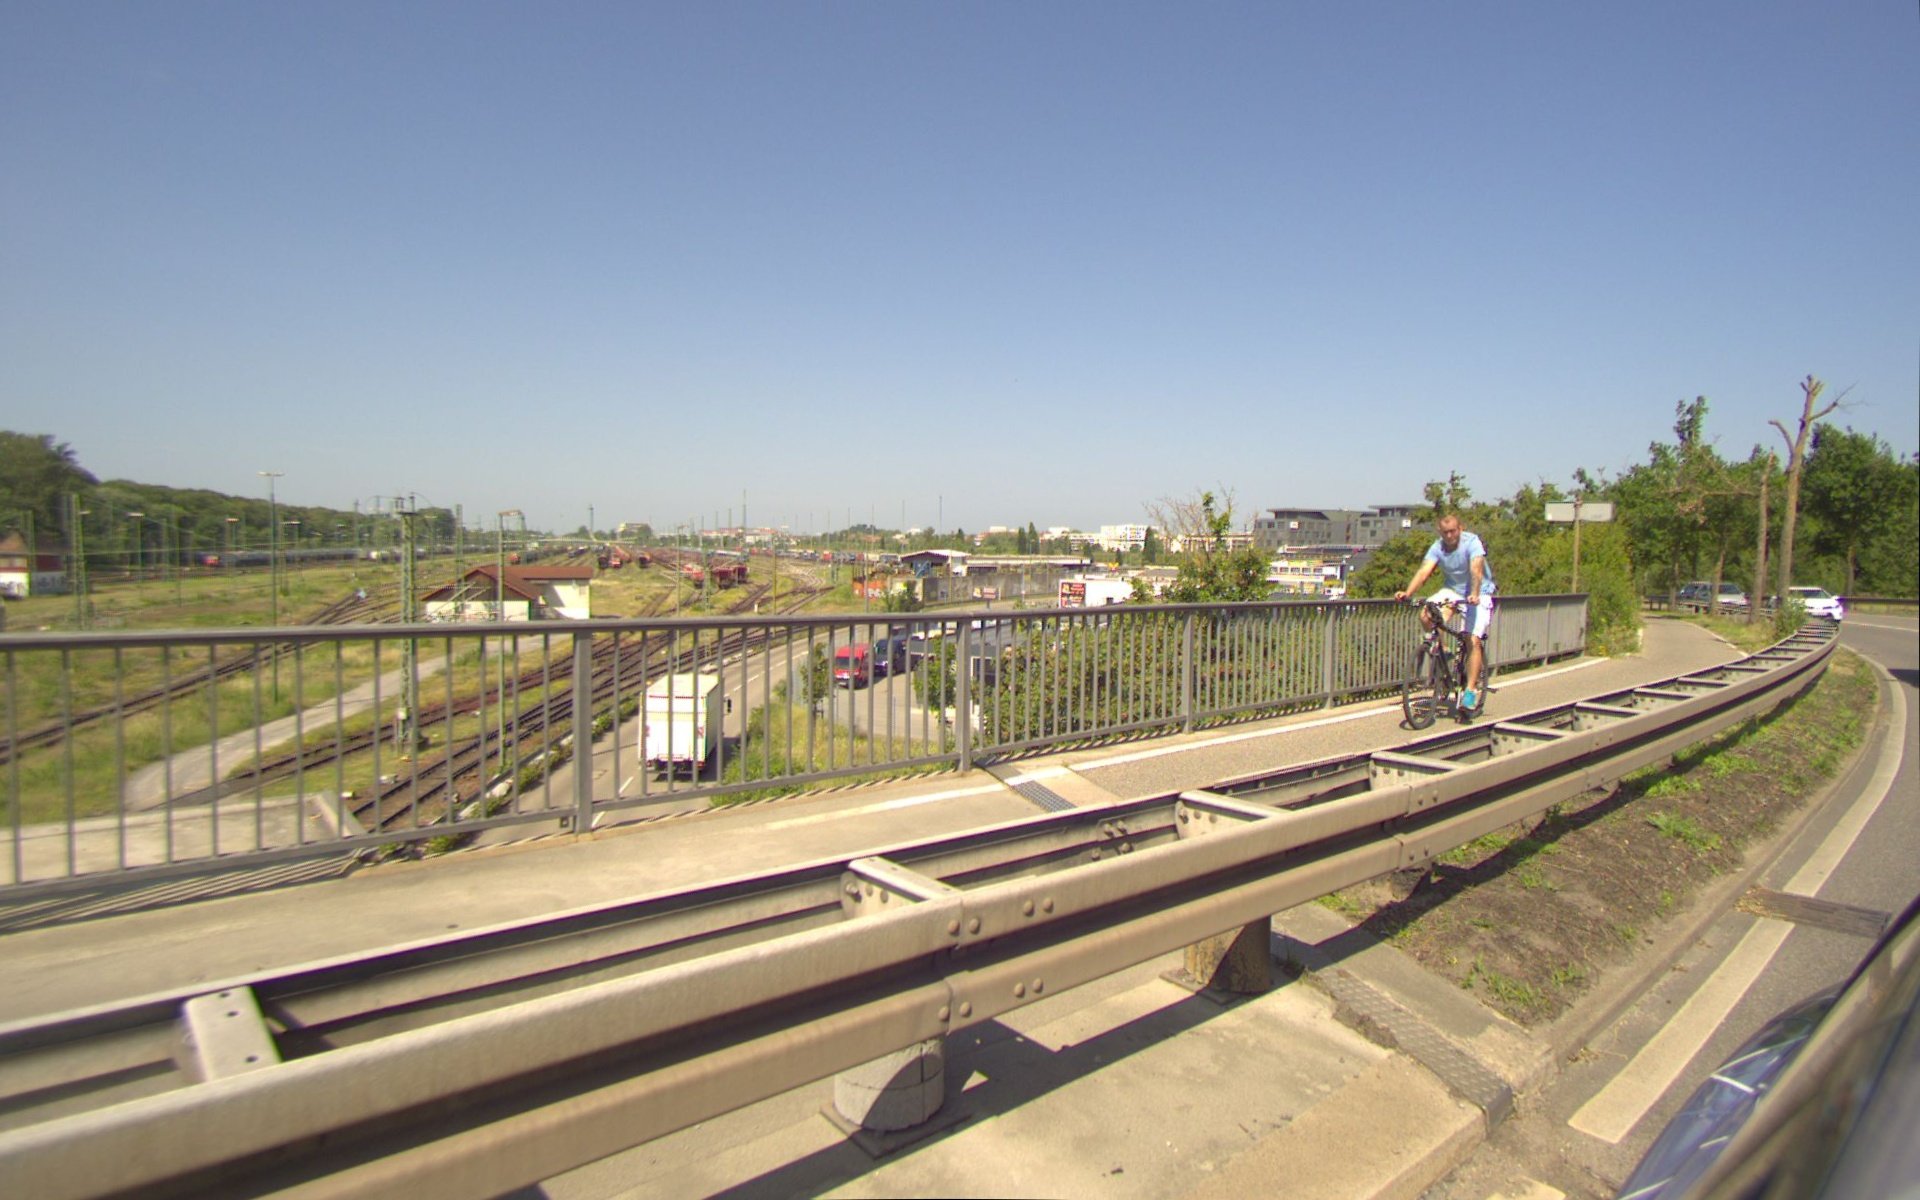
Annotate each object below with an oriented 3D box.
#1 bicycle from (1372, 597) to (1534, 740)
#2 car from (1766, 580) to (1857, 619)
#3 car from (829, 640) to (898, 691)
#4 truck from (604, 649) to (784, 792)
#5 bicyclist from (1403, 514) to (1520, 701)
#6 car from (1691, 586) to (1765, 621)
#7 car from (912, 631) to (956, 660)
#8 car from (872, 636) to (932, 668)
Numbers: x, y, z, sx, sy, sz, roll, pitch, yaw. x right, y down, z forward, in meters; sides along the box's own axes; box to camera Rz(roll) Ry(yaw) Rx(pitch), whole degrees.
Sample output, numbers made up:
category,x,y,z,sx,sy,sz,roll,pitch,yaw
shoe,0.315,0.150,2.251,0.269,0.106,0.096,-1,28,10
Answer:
category,x,y,z,sx,sy,sz,roll,pitch,yaw
bicycle,4.312,0.534,8.797,0.702,1.032,1.817,5,5,43
car,35.048,-0.033,41.766,1.828,1.507,4.116,-1,0,25
car,-6.462,4.385,68.258,2.280,2.696,5.343,-5,1,21
truck,-11.186,4.844,44.769,3.753,4.078,13.265,2,2,3
bicyclist,4.373,0.026,8.821,0.658,1.538,0.791,5,6,43
car,40.162,0.156,53.050,1.977,1.605,3.970,-6,-1,23
car,-2.053,3.560,79.744,1.976,1.894,3.972,-5,-1,21
car,-4.190,3.762,74.357,2.280,1.695,5.343,-5,1,21
